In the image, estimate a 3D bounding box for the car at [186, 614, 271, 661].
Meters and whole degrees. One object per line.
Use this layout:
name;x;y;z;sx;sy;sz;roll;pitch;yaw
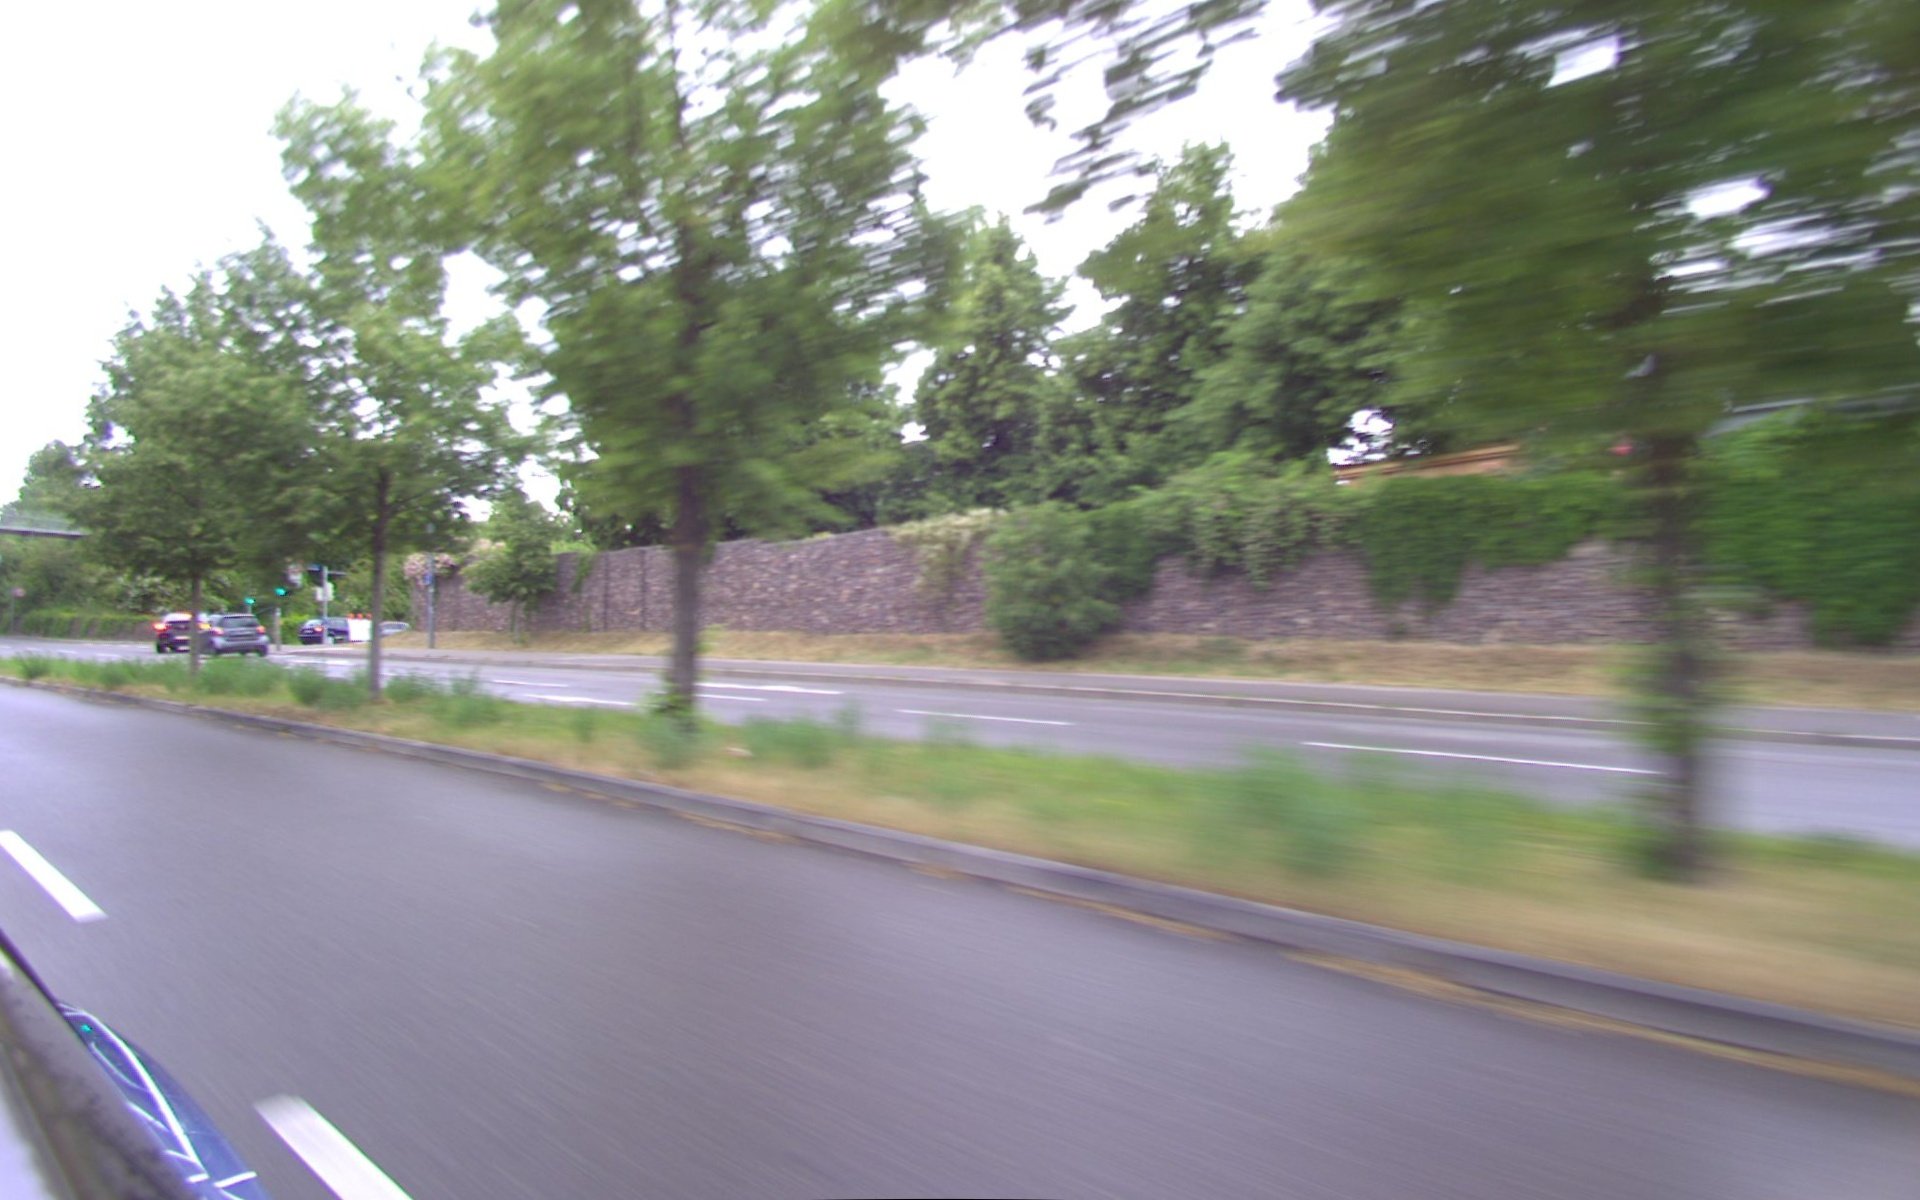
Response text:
car;-25.683;1.320;35.532;2.911;1.551;1.670;-2;-1;38

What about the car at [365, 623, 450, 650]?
car;-31.961;2.140;58.607;1.691;1.484;3.944;-4;-4;42

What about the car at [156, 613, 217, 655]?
car;-31.952;1.352;41.917;1.856;1.607;4.778;-1;0;-36

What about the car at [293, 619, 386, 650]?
car;-31.688;1.747;51.799;1.590;1.501;3.975;-1;-1;19
